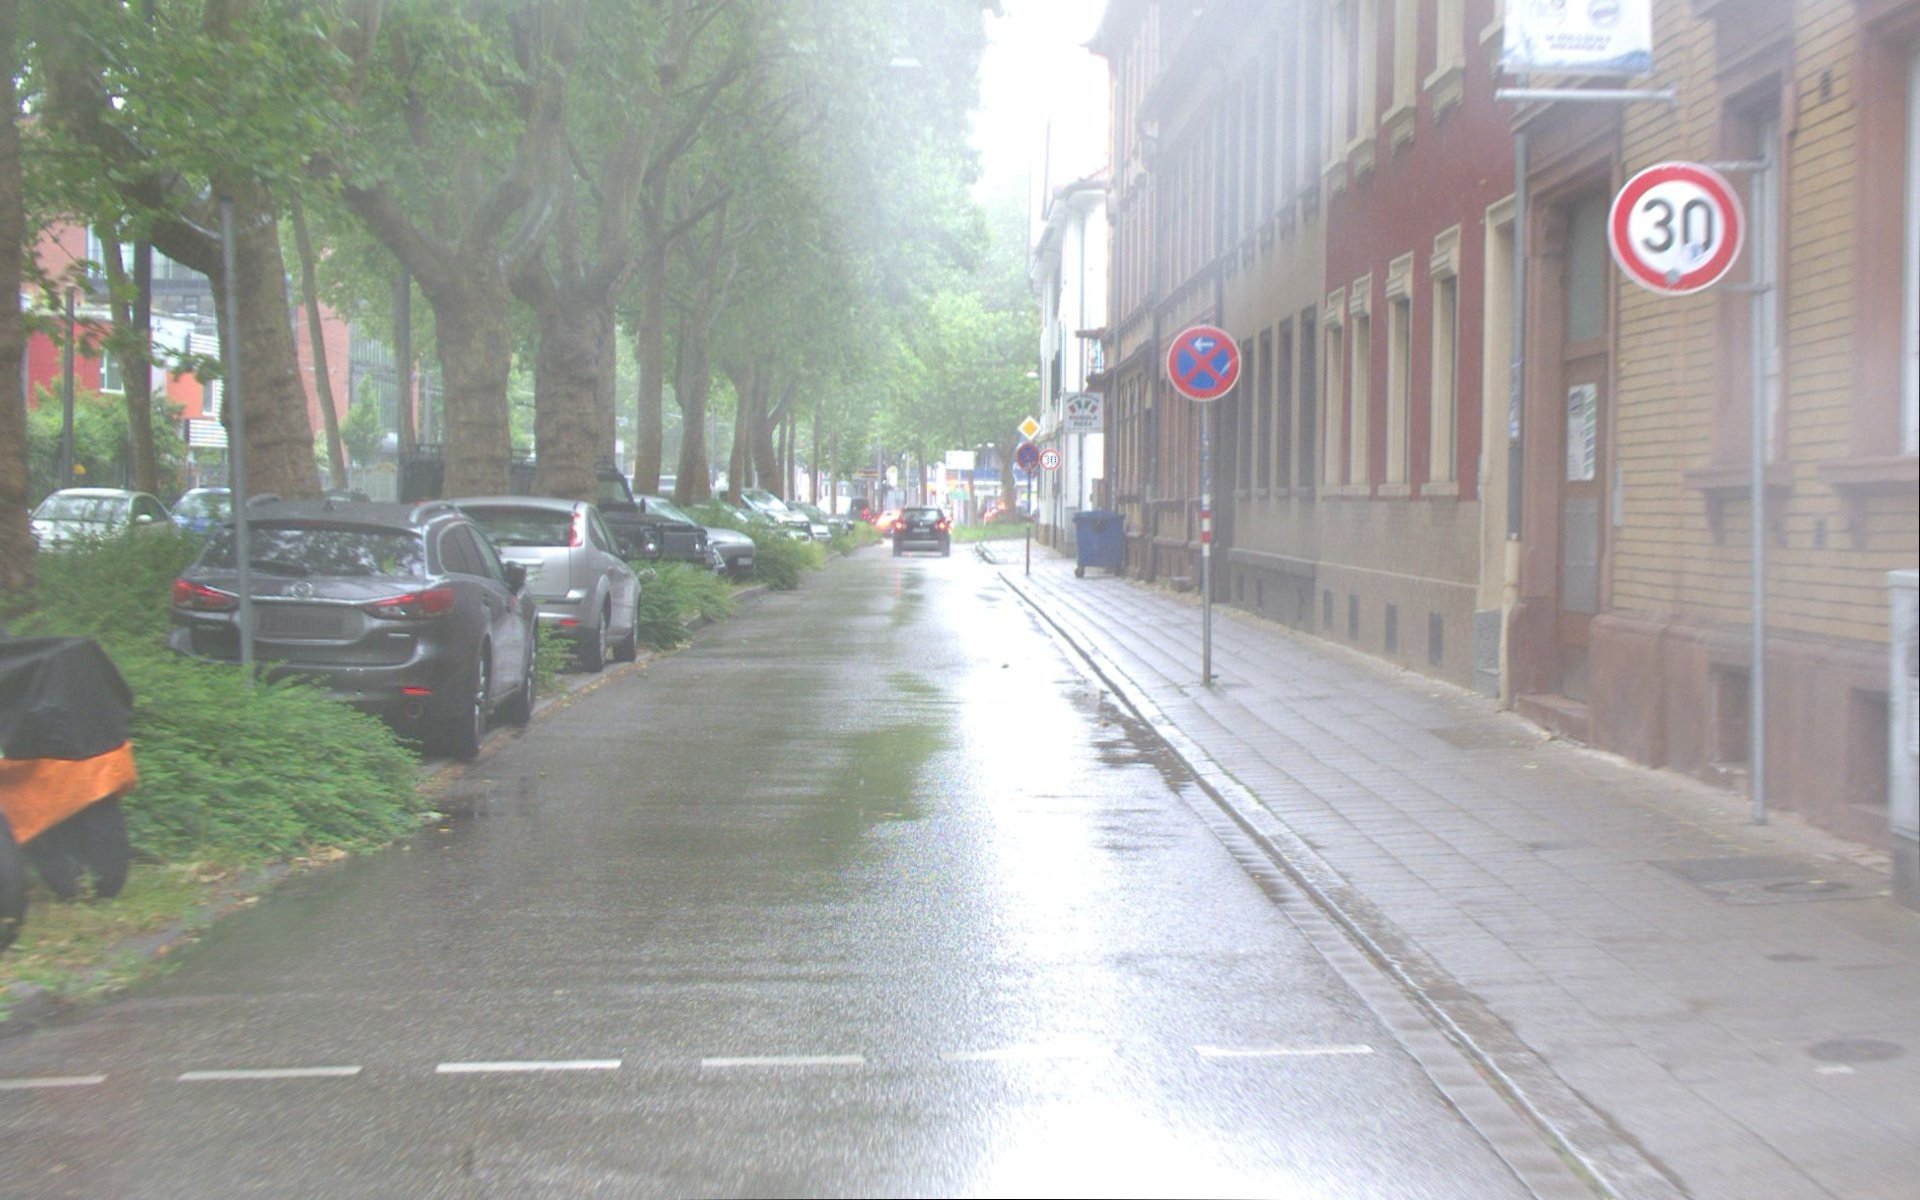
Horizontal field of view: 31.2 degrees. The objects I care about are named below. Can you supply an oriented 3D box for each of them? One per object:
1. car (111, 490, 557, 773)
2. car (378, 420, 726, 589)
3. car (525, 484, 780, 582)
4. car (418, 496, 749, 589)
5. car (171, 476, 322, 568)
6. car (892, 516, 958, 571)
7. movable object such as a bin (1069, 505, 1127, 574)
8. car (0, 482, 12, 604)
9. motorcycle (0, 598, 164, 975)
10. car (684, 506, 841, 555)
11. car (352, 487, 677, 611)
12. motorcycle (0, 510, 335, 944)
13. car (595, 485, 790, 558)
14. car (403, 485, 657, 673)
[{"bbox_3d":[-3.701,0.101,21.141,1.896,1.480,4.622,2,2,-1],"label":"car"},{"bbox_3d":[-5.760,-1.355,48.353,4.654,2.275,2.008,1,2,33],"label":"car"},{"bbox_3d":[-5.329,-1.172,59.453,4.059,1.532,1.832,3,2,30],"label":"car"},{"bbox_3d":[-5.623,-0.877,51.168,4.652,1.321,1.844,1,2,27],"label":"car"},{"bbox_3d":[-12.583,-1.396,60.871,1.904,1.528,4.216,1,2,-2],"label":"car"},{"bbox_3d":[-1.108,-1.778,107.567,1.993,1.634,4.000,2,1,-1],"label":"car"},{"bbox_3d":[2.754,-1.215,68.759,1.021,1.297,1.367,-3,2,-1],"label":"movable object such as a bin"},{"bbox_3d":[-13.007,-0.685,41.788,1.904,1.528,4.216,1,2,-2],"label":"car"},{"bbox_3d":[-3.801,0.592,12.166,2.141,1.205,0.867,3,2,44],"label":"motorcycle"},{"bbox_3d":[-6.057,-2.131,105.157,4.554,1.477,1.772,0,2,30],"label":"car"},{"bbox_3d":[-5.364,-0.638,41.392,3.497,1.431,1.779,1,2,27],"label":"car"},{"bbox_3d":[-3.350,0.422,13.074,2.108,1.495,0.769,3,2,43],"label":"motorcycle"},{"bbox_3d":[-7.456,-2.179,95.641,5.124,1.970,2.099,1,2,31],"label":"car"},{"bbox_3d":[-3.773,-0.244,30.787,1.729,1.509,4.208,2,2,-1],"label":"car"}]
